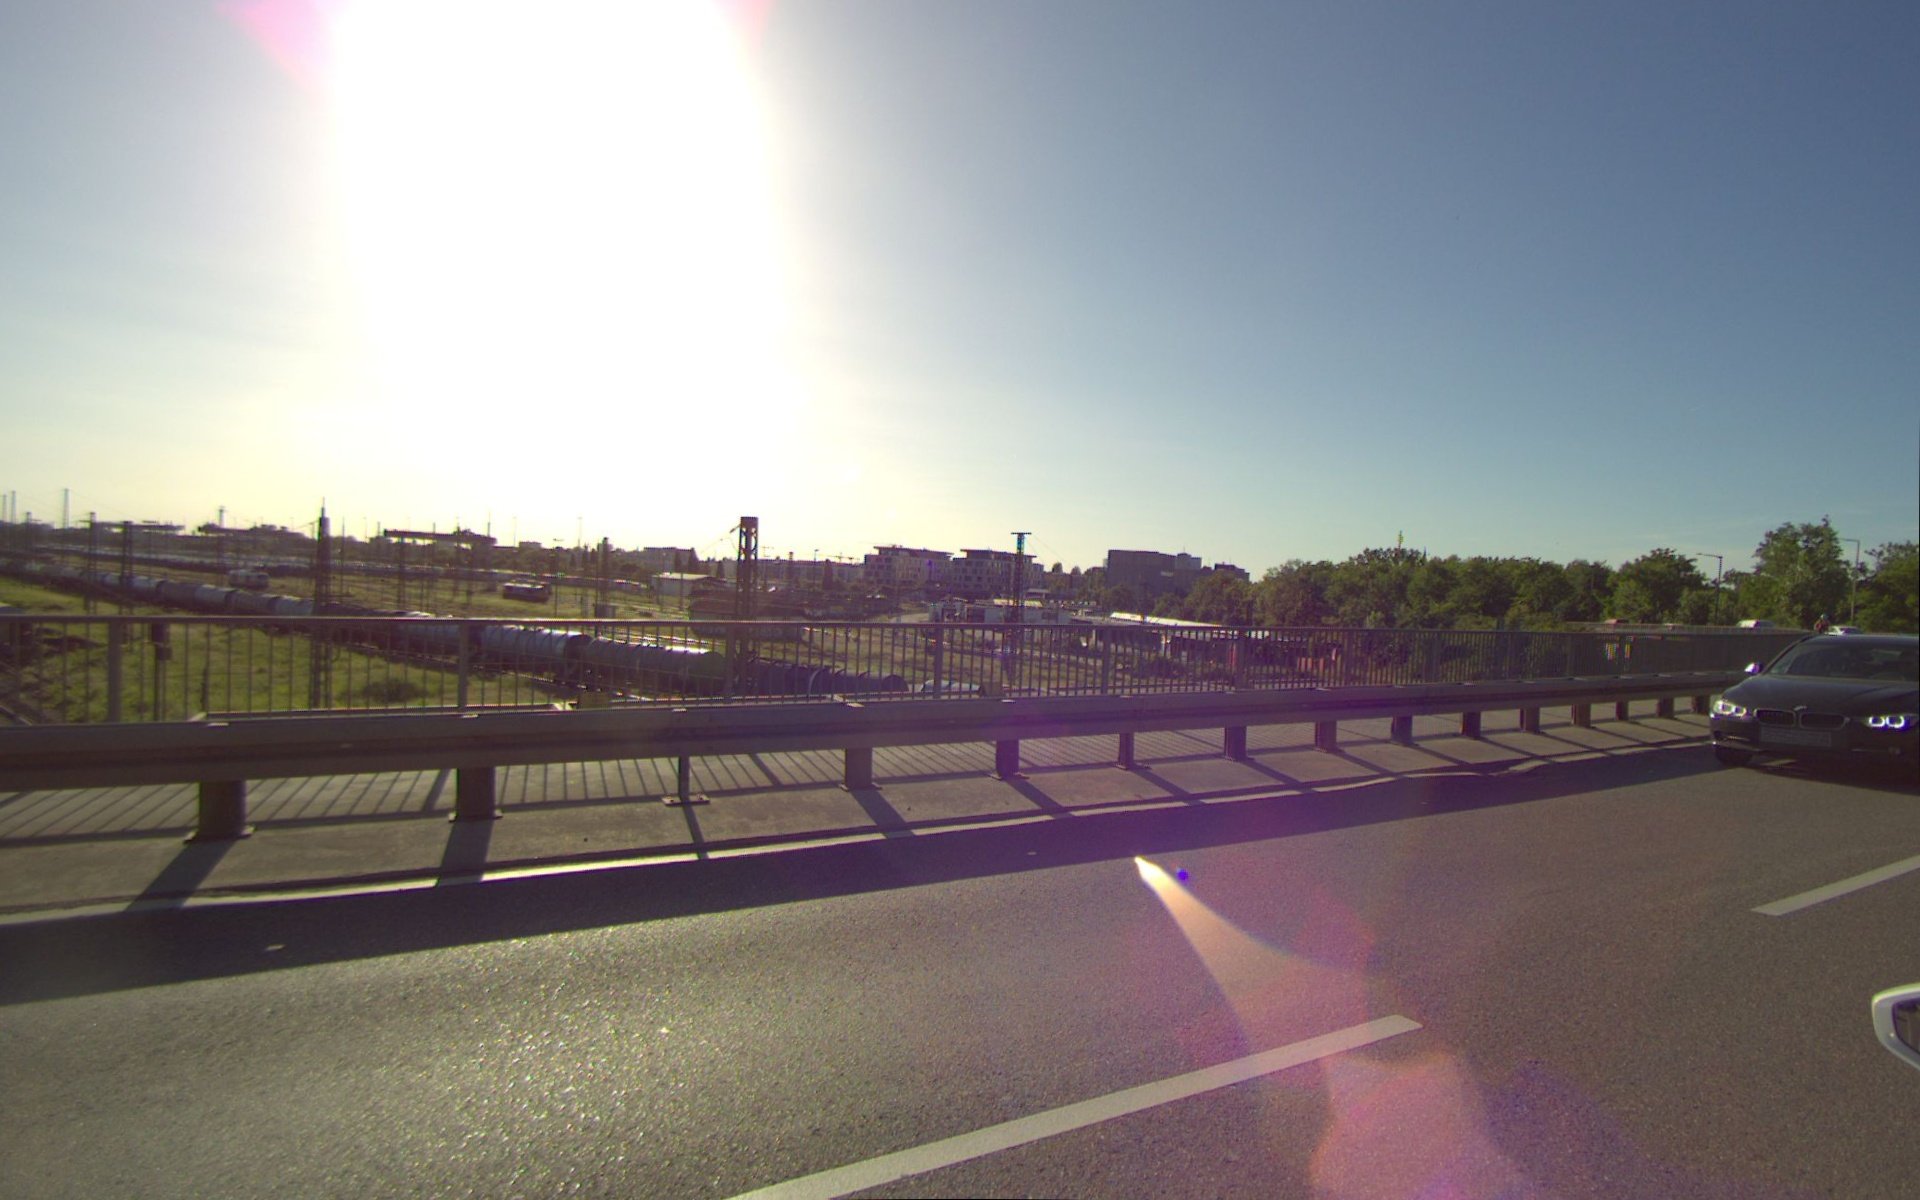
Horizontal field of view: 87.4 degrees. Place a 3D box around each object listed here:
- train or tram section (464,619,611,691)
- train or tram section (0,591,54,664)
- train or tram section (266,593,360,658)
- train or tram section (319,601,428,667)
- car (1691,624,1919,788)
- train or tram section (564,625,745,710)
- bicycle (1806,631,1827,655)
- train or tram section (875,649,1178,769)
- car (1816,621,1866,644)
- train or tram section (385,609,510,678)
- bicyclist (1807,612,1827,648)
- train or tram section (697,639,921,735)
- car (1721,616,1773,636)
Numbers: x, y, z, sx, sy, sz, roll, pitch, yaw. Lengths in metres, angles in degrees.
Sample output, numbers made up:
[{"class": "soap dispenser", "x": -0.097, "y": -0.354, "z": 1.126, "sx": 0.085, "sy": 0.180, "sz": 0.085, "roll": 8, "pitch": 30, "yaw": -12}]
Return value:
[{"class": "train or tram section", "x": -35.154, "y": 4.308, "z": 83.039, "sx": 16.112, "sy": 5.083, "sz": 3.889, "roll": 1, "pitch": 0, "yaw": 39}, {"class": "train or tram section", "x": -76.866, "y": 1.913, "z": 79.644, "sx": 19.046, "sy": 5.154, "sz": 4.033, "roll": 1, "pitch": 0, "yaw": 38}, {"class": "train or tram section", "x": -73.482, "y": 2.747, "z": 113.760, "sx": 16.248, "sy": 6.699, "sz": 3.889, "roll": 1, "pitch": 0, "yaw": 39}, {"class": "train or tram section", "x": -60.629, "y": 3.288, "z": 103.467, "sx": 16.697, "sy": 6.089, "sz": 3.889, "roll": 1, "pitch": 0, "yaw": 39}, {"class": "car", "x": 10.062, "y": 1.047, "z": 11.185, "sx": 4.279, "sy": 1.458, "sz": 1.861, "roll": 2, "pitch": 0, "yaw": -36}, {"class": "train or tram section", "x": -22.493, "y": 4.617, "z": 72.850, "sx": 16.408, "sy": 5.083, "sz": 3.889, "roll": 1, "pitch": 0, "yaw": 39}, {"class": "bicycle", "x": 39.318, "y": 1.970, "z": 46.110, "sx": 0.645, "sy": 1.079, "sz": 1.882, "roll": 1, "pitch": 0, "yaw": 38}, {"class": "train or tram section", "x": 2.919, "y": 5.313, "z": 52.476, "sx": 16.508, "sy": 4.652, "sz": 3.889, "roll": 1, "pitch": 0, "yaw": 39}, {"class": "car", "x": 63.579, "y": 2.333, "z": 72.545, "sx": 1.831, "sy": 1.606, "sz": 3.909, "roll": 1, "pitch": 0, "yaw": 27}, {"class": "train or tram section", "x": -47.780, "y": 3.799, "z": 93.150, "sx": 16.248, "sy": 5.592, "sz": 3.889, "roll": 1, "pitch": 0, "yaw": 39}, {"class": "bicyclist", "x": 39.277, "y": 1.357, "z": 46.039, "sx": 0.645, "sy": 1.610, "sz": 0.765, "roll": 1, "pitch": 0, "yaw": 39}, {"class": "train or tram section", "x": -9.811, "y": 5.119, "z": 62.683, "sx": 16.059, "sy": 4.652, "sz": 3.889, "roll": 1, "pitch": 0, "yaw": 39}, {"class": "car", "x": 68.779, "y": 2.256, "z": 87.836, "sx": 1.804, "sy": 1.576, "sz": 3.896, "roll": 1, "pitch": 0, "yaw": 8}]
